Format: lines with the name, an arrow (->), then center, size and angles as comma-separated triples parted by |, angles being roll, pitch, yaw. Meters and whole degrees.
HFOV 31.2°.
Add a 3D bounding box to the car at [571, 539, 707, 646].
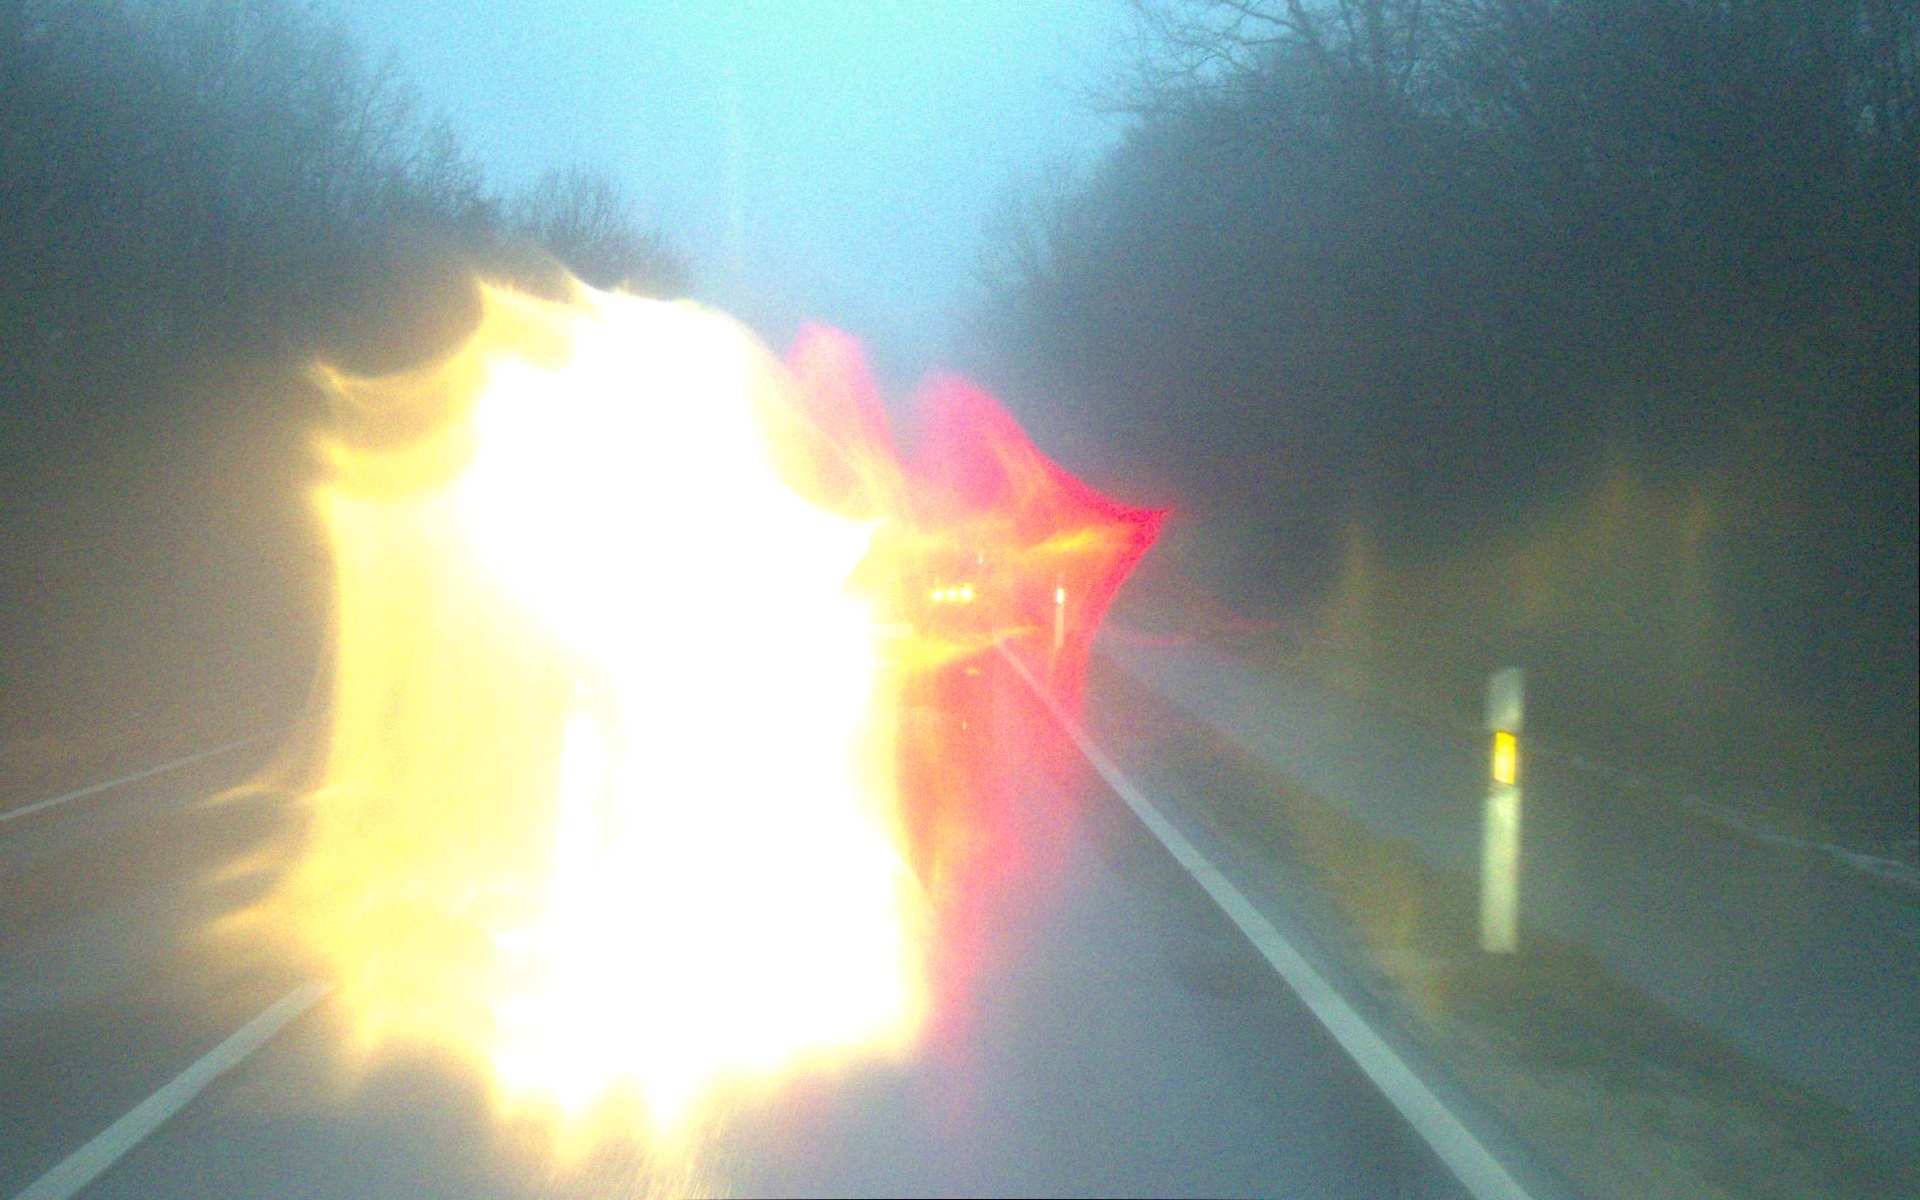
car -> -4.425, -0.140, 47.847 | 1.618, 1.384, 4.072 | -1, 1, -2
